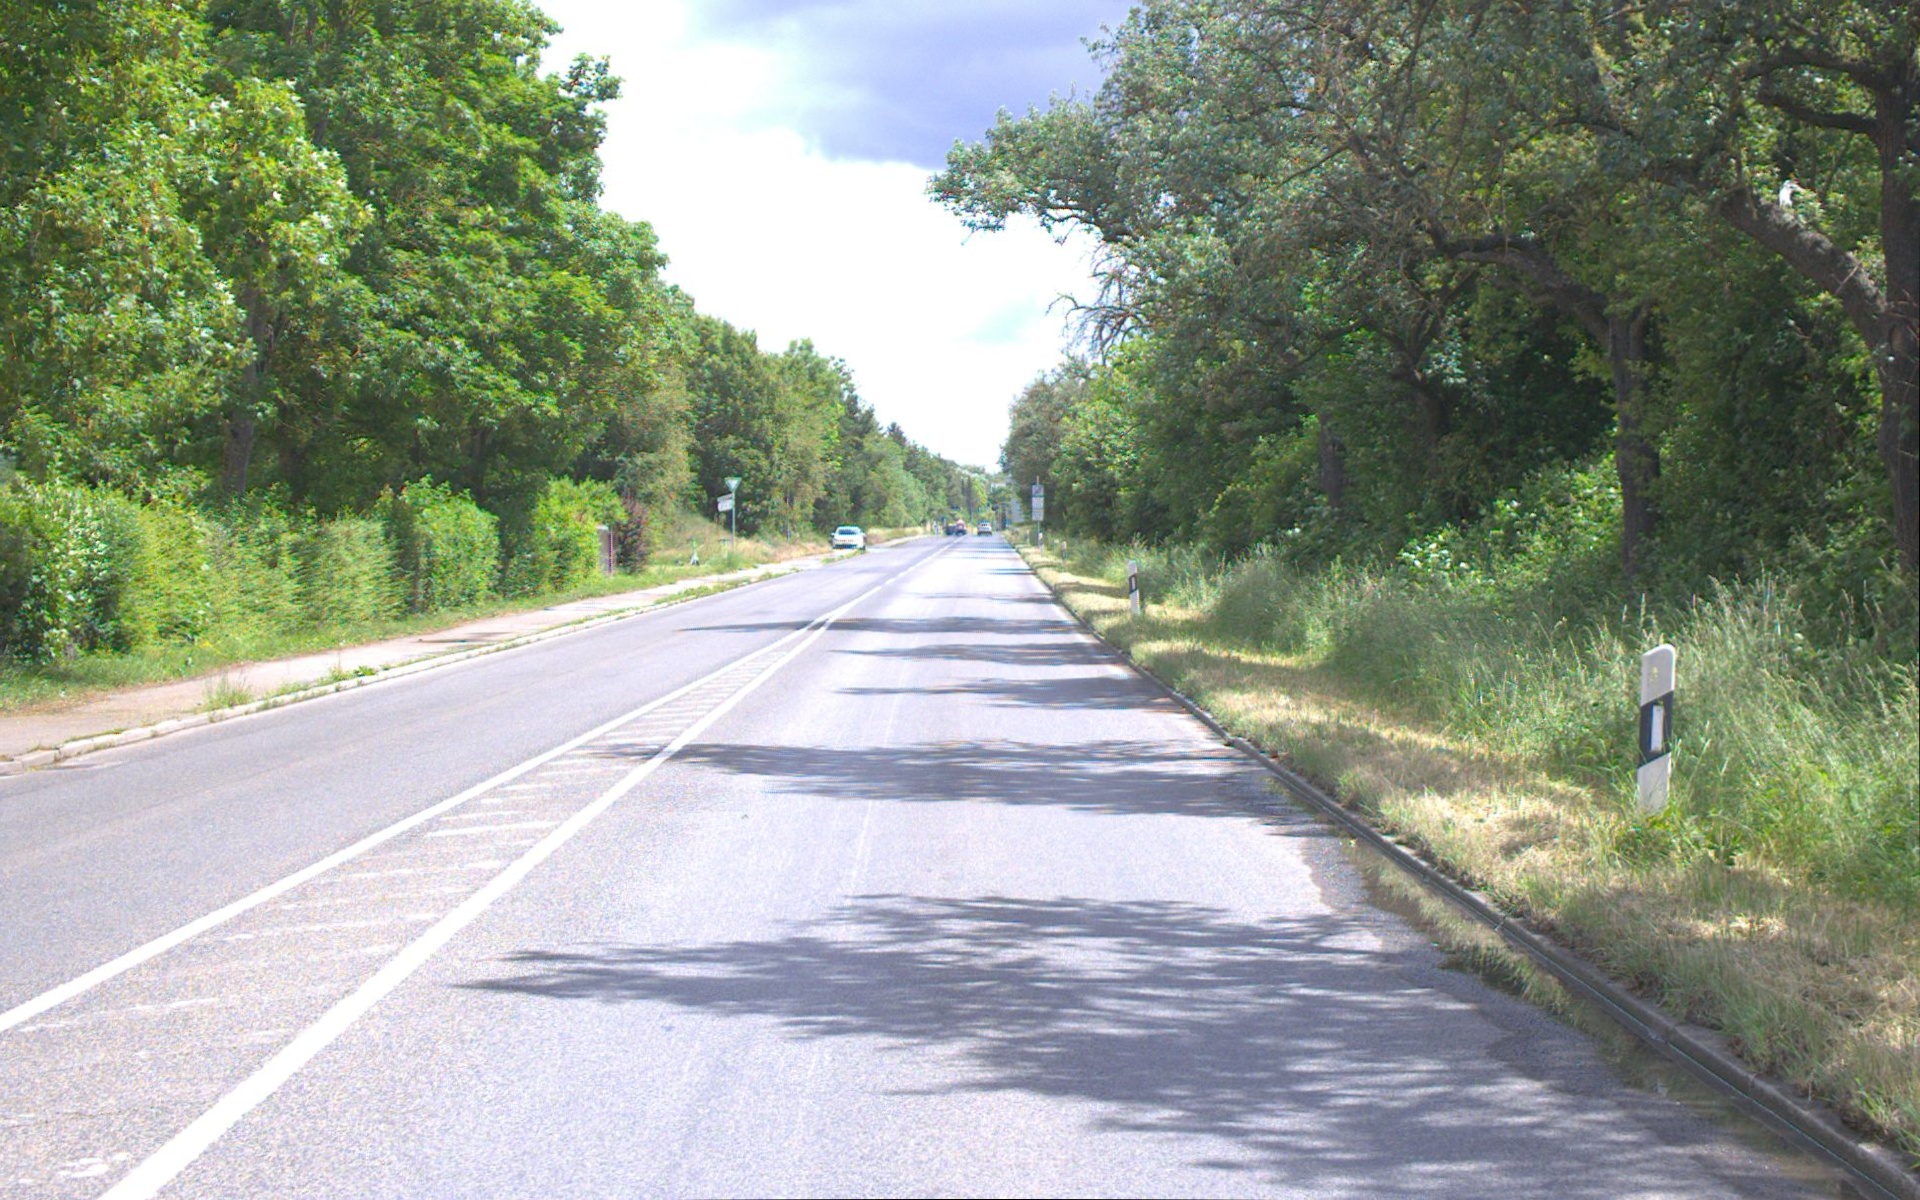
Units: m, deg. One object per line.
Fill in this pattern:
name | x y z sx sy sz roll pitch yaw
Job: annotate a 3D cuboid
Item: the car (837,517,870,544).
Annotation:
car | -6.469 -4.221 209.650 1.798 1.538 3.955 -1 0 1
